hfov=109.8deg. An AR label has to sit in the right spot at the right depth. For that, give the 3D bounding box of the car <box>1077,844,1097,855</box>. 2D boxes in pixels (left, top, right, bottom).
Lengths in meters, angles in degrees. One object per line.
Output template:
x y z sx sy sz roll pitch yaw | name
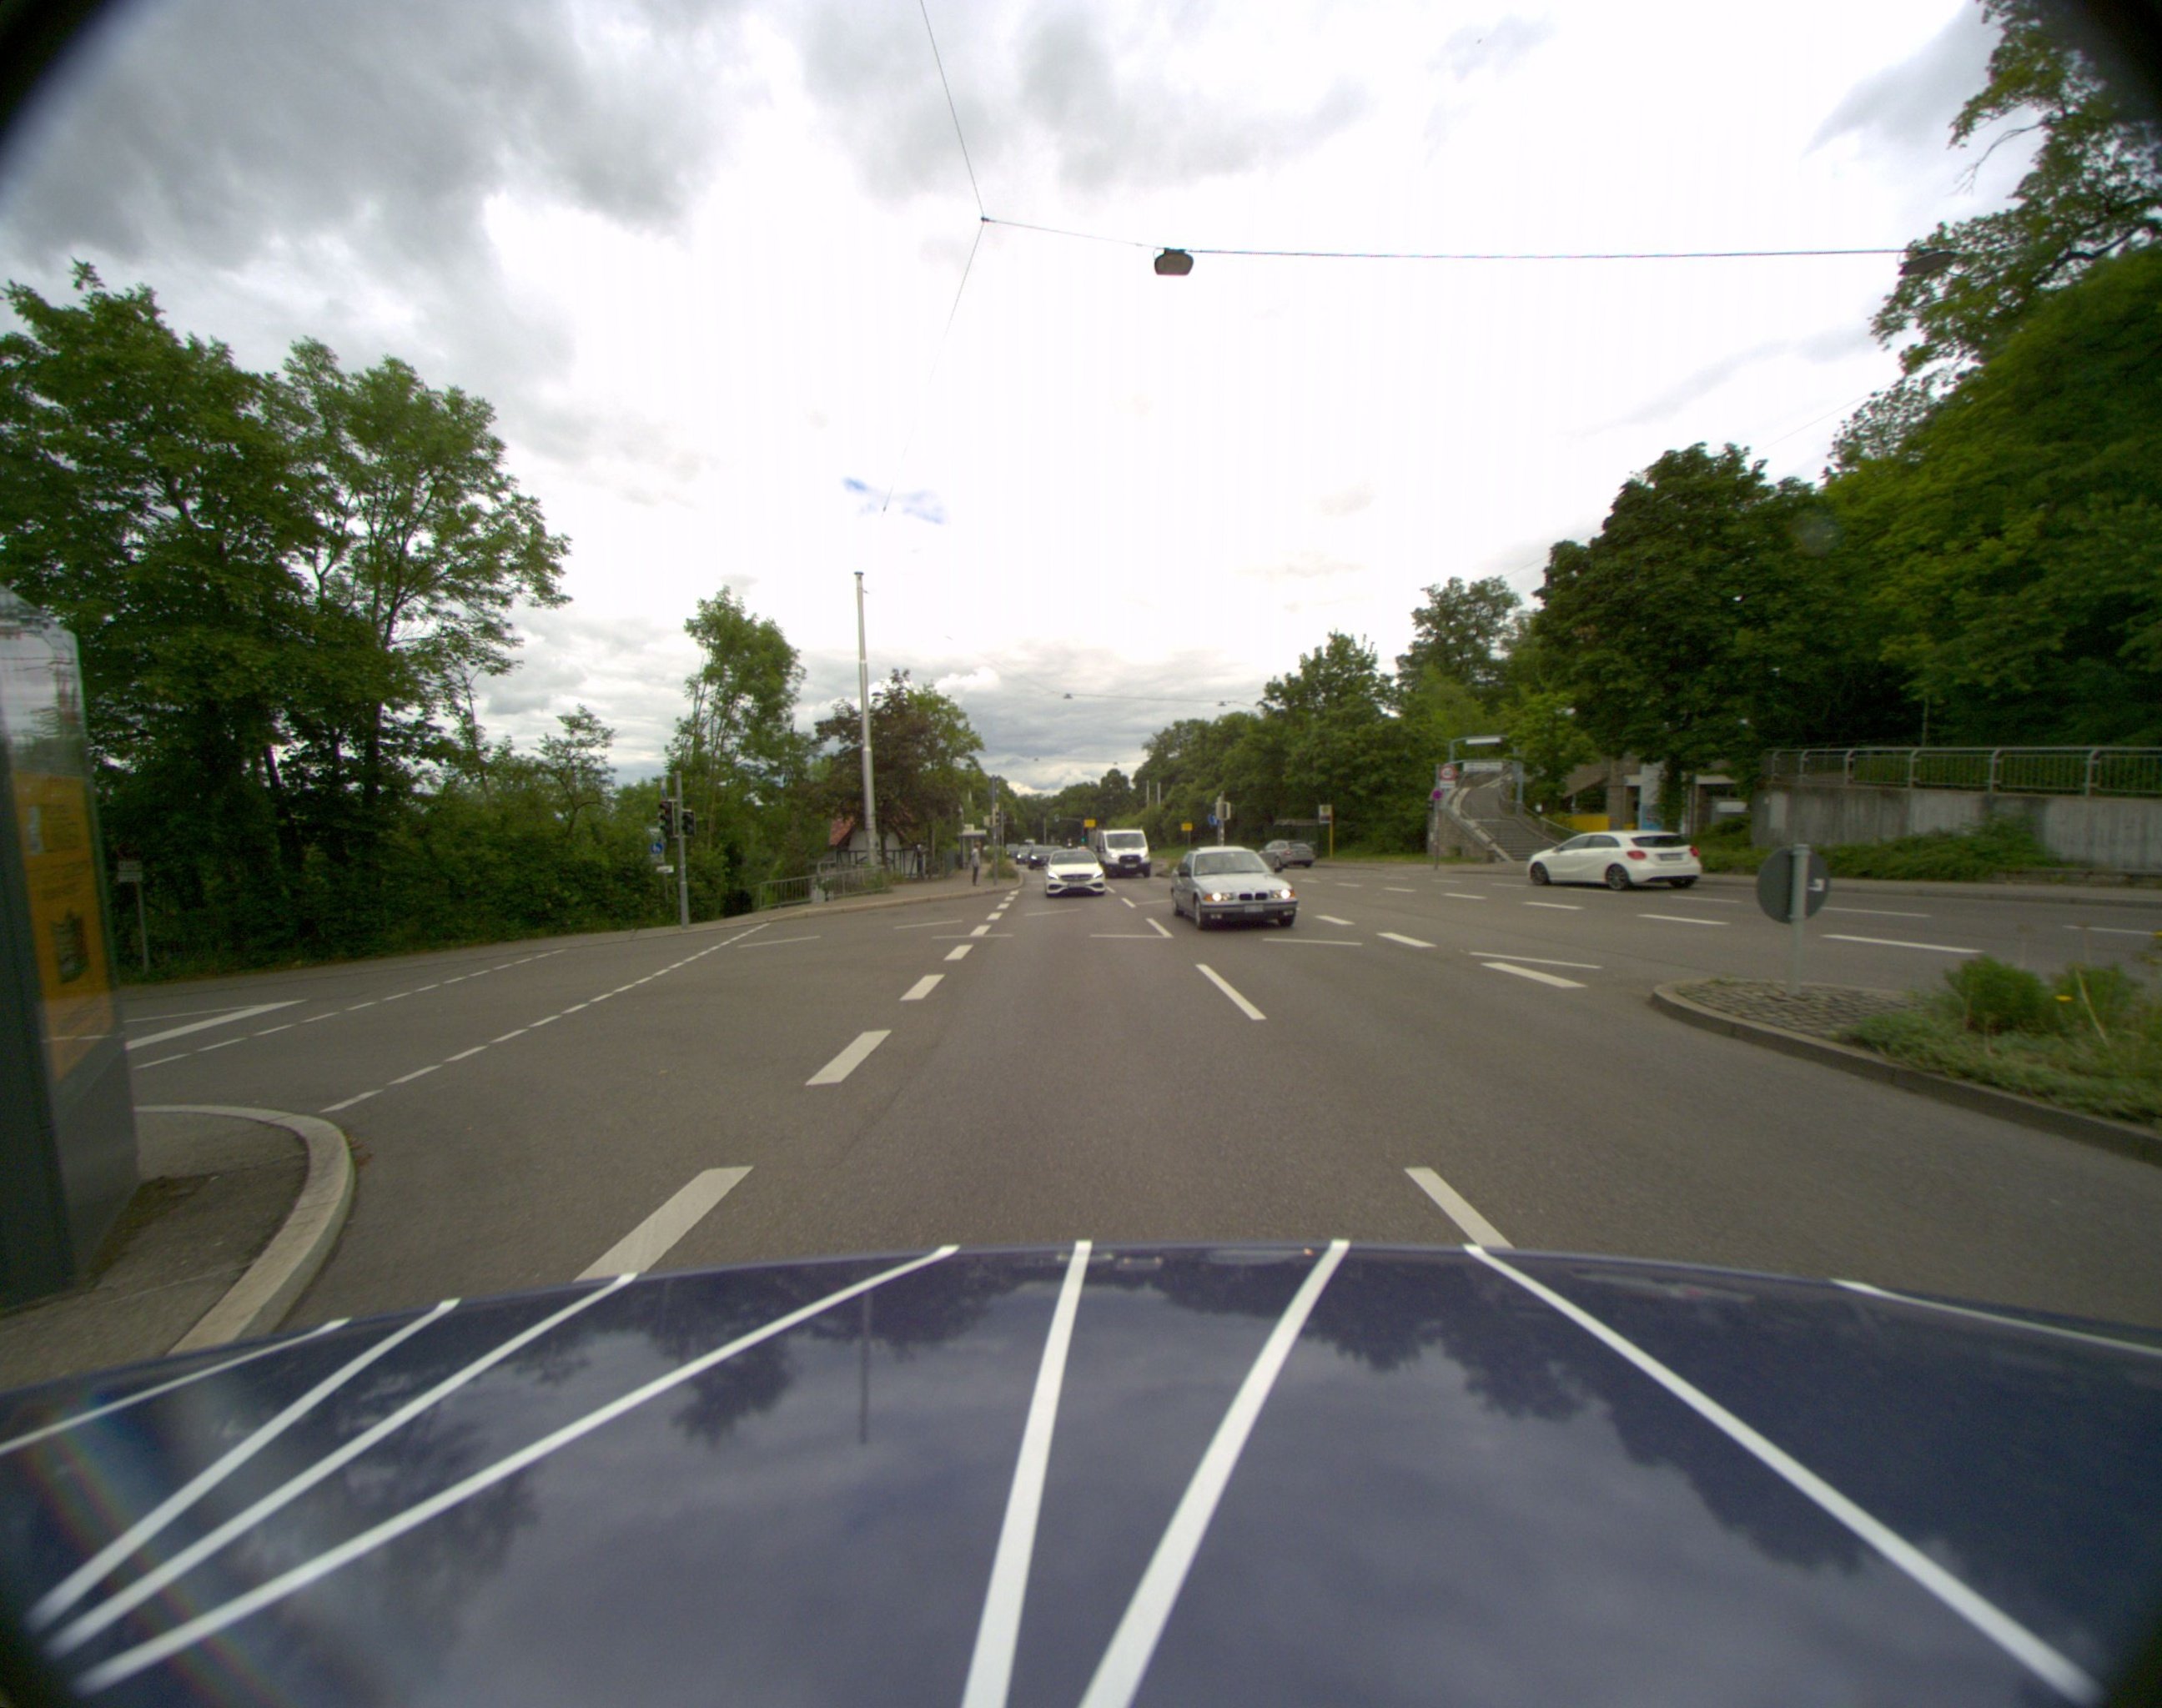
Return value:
0.788 -0.574 99.888 1.723 1.385 4.604 -1 1 -11 | car

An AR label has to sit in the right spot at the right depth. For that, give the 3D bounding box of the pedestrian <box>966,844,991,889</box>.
-3.912 0.451 29.043 0.618 1.679 0.697 2 3 38 | pedestrian

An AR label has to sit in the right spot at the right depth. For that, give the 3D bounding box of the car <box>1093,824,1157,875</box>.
1.941 -0.249 35.842 2.253 2.114 6.666 -1 1 -3 | car

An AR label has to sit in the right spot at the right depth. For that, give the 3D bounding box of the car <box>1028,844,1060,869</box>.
-2.530 0.129 50.965 1.679 1.532 4.611 -1 1 -8 | car

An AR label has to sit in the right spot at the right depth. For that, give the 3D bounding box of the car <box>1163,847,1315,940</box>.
2.749 0.598 14.301 1.757 1.385 4.613 -2 1 -1 | car

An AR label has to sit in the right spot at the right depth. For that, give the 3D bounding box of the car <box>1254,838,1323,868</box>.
10.778 -0.063 39.748 1.656 1.440 4.562 -2 1 -10 | car

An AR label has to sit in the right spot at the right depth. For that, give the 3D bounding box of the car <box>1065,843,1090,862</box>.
-0.330 -0.140 61.690 1.678 1.532 4.550 -1 1 -5 | car

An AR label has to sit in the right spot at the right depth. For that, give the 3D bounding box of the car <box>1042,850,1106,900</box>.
-0.243 0.597 23.888 1.807 1.385 4.283 0 1 -1 | car

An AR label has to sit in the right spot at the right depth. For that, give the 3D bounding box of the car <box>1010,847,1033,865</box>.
-4.963 0.139 63.749 1.808 1.385 4.282 -1 1 -4 | car

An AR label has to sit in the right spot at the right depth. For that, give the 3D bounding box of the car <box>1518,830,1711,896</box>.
13.251 0.173 19.226 1.656 1.385 4.141 -4 1 -5 | car
